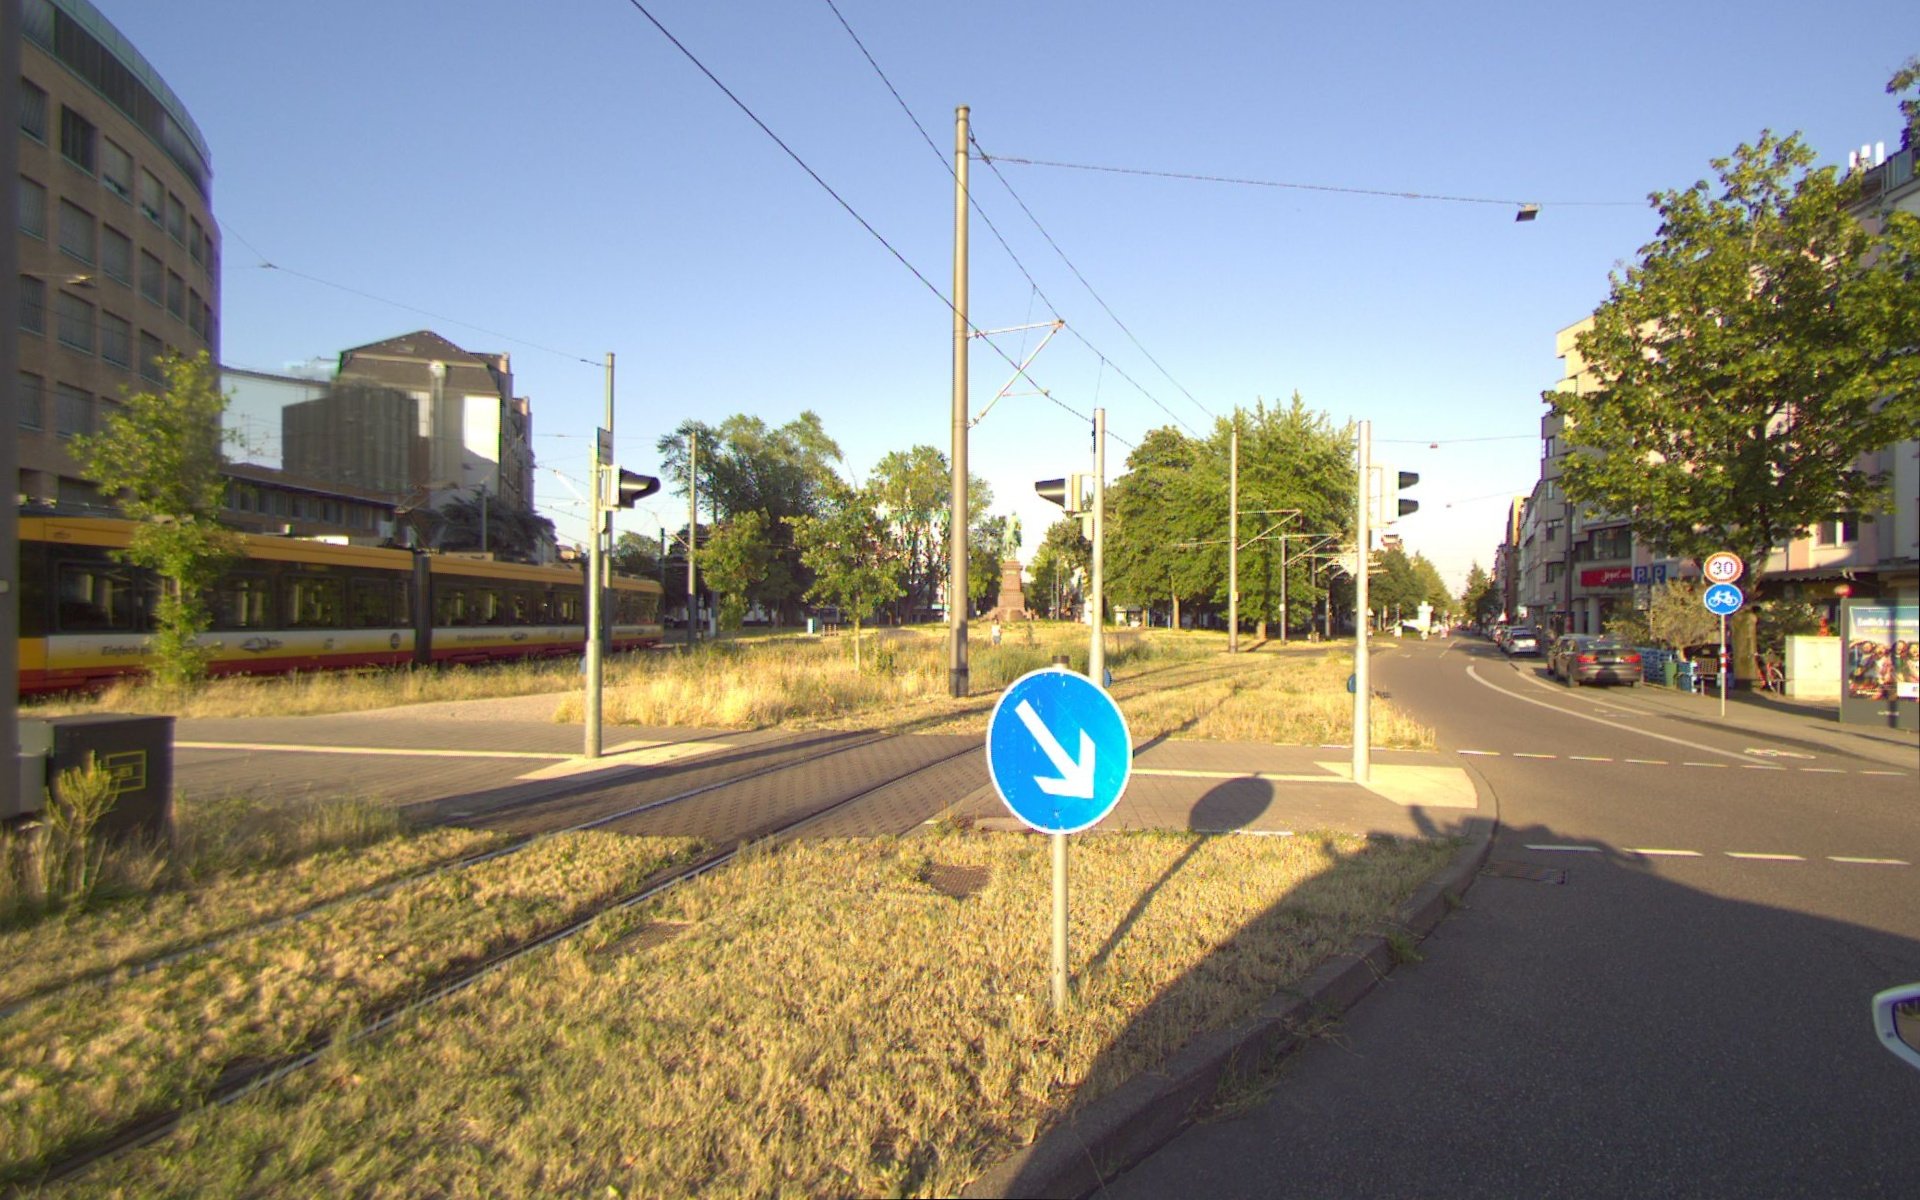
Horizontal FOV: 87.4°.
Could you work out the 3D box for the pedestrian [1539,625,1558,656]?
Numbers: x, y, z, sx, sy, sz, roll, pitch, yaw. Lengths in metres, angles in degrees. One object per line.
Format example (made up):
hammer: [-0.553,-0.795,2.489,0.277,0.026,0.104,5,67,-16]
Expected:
pedestrian: [34.983,2.420,59.739,0.628,1.809,0.857,2,0,3]

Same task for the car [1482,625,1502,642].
car: [56.326,3.541,106.367,1.765,1.815,4.087,1,-1,27]

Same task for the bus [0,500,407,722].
bus: [-16.795,0.146,20.672,3.686,3.501,12.135,2,0,2]

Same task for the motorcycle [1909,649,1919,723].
motorcycle: [18.051,1.609,17.918,0.630,1.362,2.203,2,0,15]

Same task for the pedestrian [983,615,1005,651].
pedestrian: [1.429,1.368,41.760,0.659,1.478,0.699,2,0,23]

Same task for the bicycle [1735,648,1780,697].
bicycle: [21.723,1.950,27.386,0.439,1.226,2.081,2,0,25]

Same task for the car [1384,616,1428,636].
car: [56.095,3.268,126.322,4.522,2.281,2.203,2,-1,0]

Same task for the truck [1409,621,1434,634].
truck: [97.934,5.743,213.130,4.865,2.649,1.998,1,-1,27]

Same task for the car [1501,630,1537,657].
car: [32.717,2.527,58.818,1.758,1.475,3.994,0,-1,28]

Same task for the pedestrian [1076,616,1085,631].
pedestrian: [15.884,3.055,132.075,0.848,1.865,0.995,2,2,27]

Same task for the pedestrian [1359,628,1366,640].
pedestrian: [46.793,3.916,116.724,0.609,1.382,0.558,2,0,-39]

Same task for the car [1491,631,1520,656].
car: [37.464,2.969,68.995,1.616,1.548,3.995,2,0,27]

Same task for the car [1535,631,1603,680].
car: [21.799,1.934,36.083,1.624,1.555,4.063,2,0,25]

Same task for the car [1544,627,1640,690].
car: [19.702,1.767,31.515,1.776,1.692,4.810,2,0,23]

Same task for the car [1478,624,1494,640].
car: [64.161,3.851,122.543,1.684,1.859,4.300,2,0,27]

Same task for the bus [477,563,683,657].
bus: [-16.055,0.405,44.285,3.686,3.407,13.714,2,0,0]

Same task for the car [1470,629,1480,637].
car: [96.529,6.153,188.321,1.552,1.563,3.395,-1,-3,24]

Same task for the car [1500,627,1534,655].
car: [35.151,2.589,63.470,1.560,1.612,3.665,2,0,25]

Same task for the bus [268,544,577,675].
bus: [-16.369,0.275,32.117,3.686,3.375,10.739,2,0,2]
